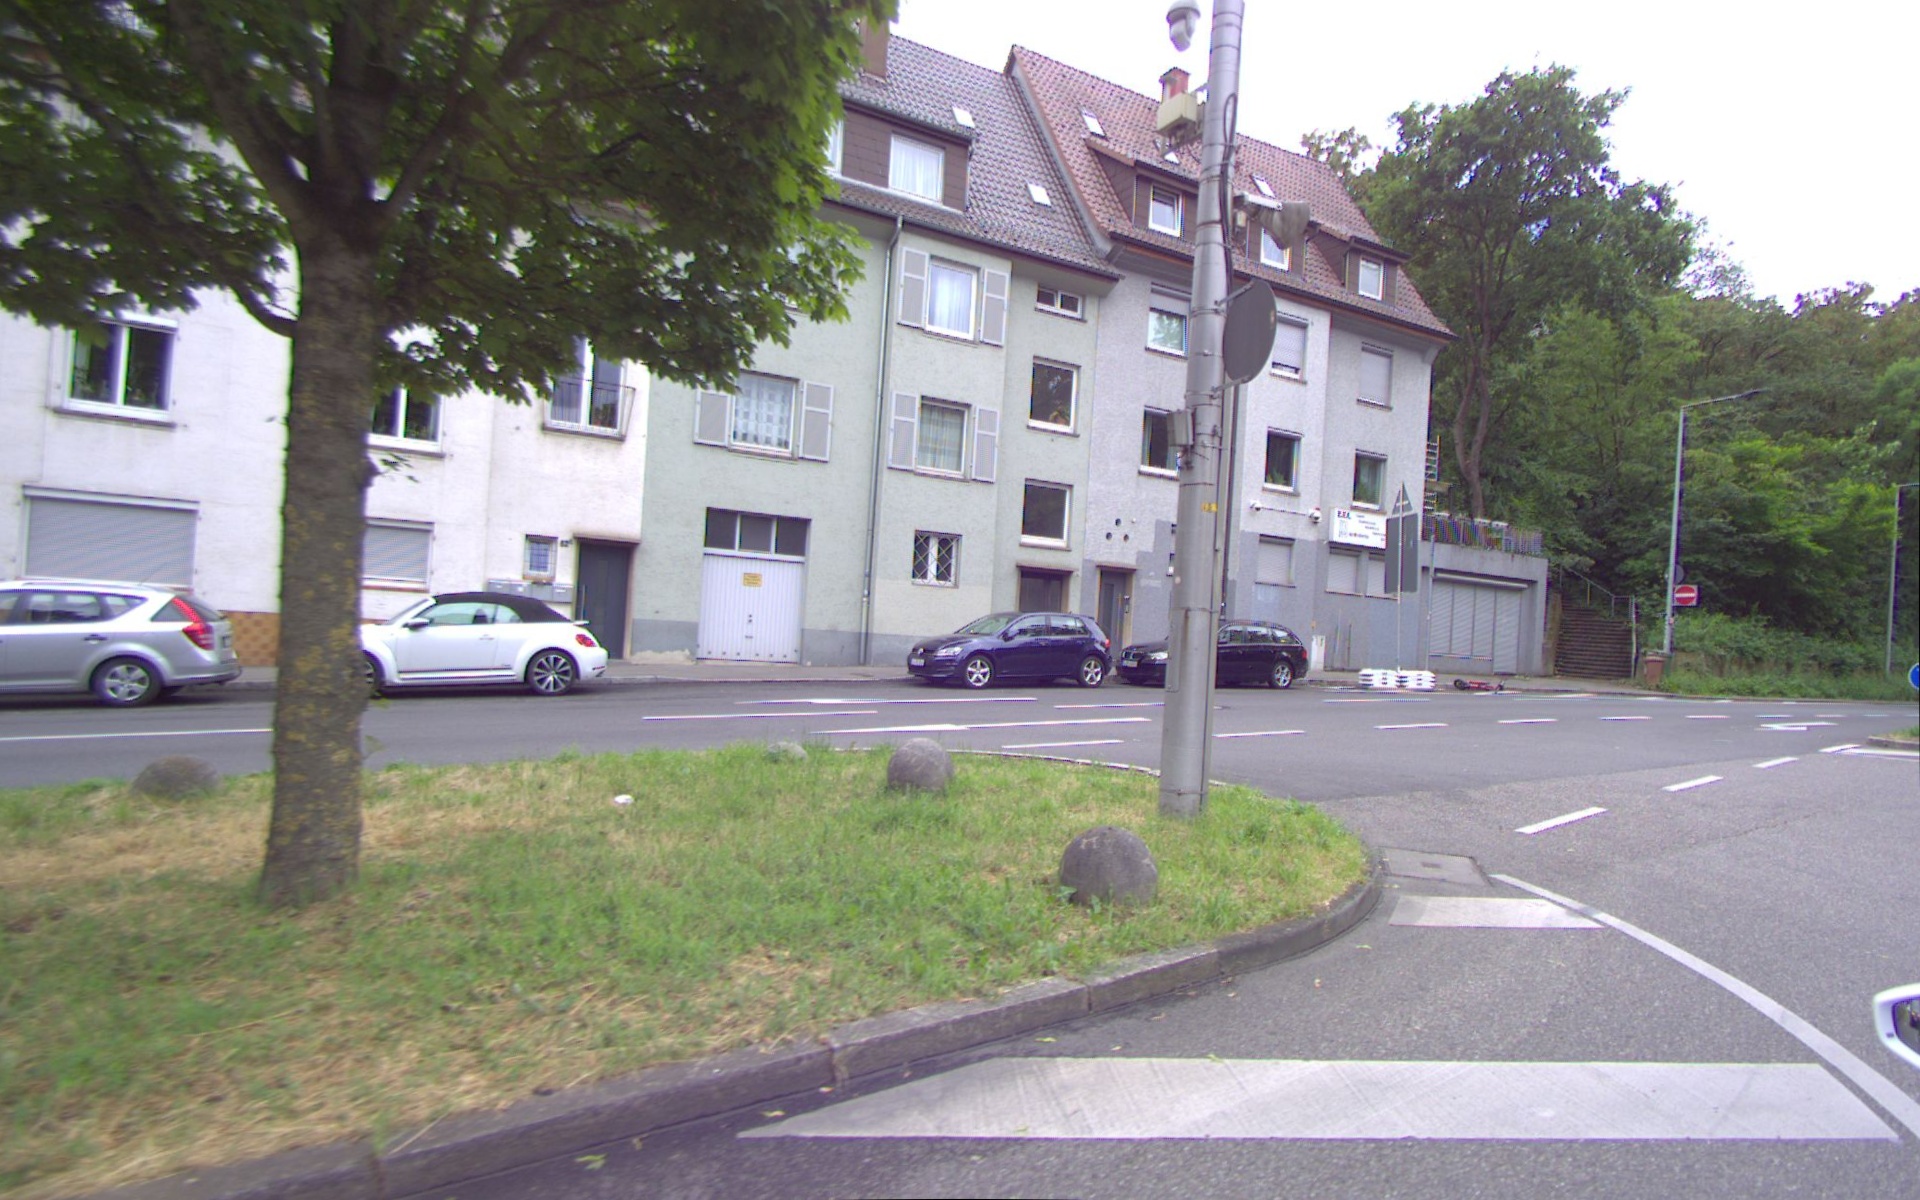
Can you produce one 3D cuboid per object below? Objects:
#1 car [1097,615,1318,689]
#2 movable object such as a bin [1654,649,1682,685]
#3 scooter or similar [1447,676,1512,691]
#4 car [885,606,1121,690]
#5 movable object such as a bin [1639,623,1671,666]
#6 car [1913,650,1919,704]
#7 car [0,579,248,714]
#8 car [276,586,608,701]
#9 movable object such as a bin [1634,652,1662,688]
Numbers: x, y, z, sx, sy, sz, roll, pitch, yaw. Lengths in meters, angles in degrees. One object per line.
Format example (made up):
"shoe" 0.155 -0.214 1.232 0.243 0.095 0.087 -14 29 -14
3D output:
"car" 5.375 1.098 21.747 4.460 1.419 1.986 2 0 -27
"movable object such as a bin" 21.643 2.046 30.717 0.427 1.038 0.550 3 3 -42
"scooter or similar" 12.783 2.058 24.722 1.091 0.292 1.113 4 -3 -43
"car" 0.856 0.891 19.453 4.164 1.442 1.983 2 0 -31
"movable object such as a bin" 20.462 1.300 29.571 0.488 1.201 0.599 3 3 -42
"car" 32.912 2.577 32.452 4.881 1.721 1.860 4 -1 -31
"car" -11.658 0.529 12.480 4.328 1.573 1.985 1 0 -29
"car" -7.514 0.594 14.914 4.105 1.494 1.986 1 0 -27
"movable object such as a bin" 19.983 2.041 29.154 0.441 0.980 0.511 3 3 -42
